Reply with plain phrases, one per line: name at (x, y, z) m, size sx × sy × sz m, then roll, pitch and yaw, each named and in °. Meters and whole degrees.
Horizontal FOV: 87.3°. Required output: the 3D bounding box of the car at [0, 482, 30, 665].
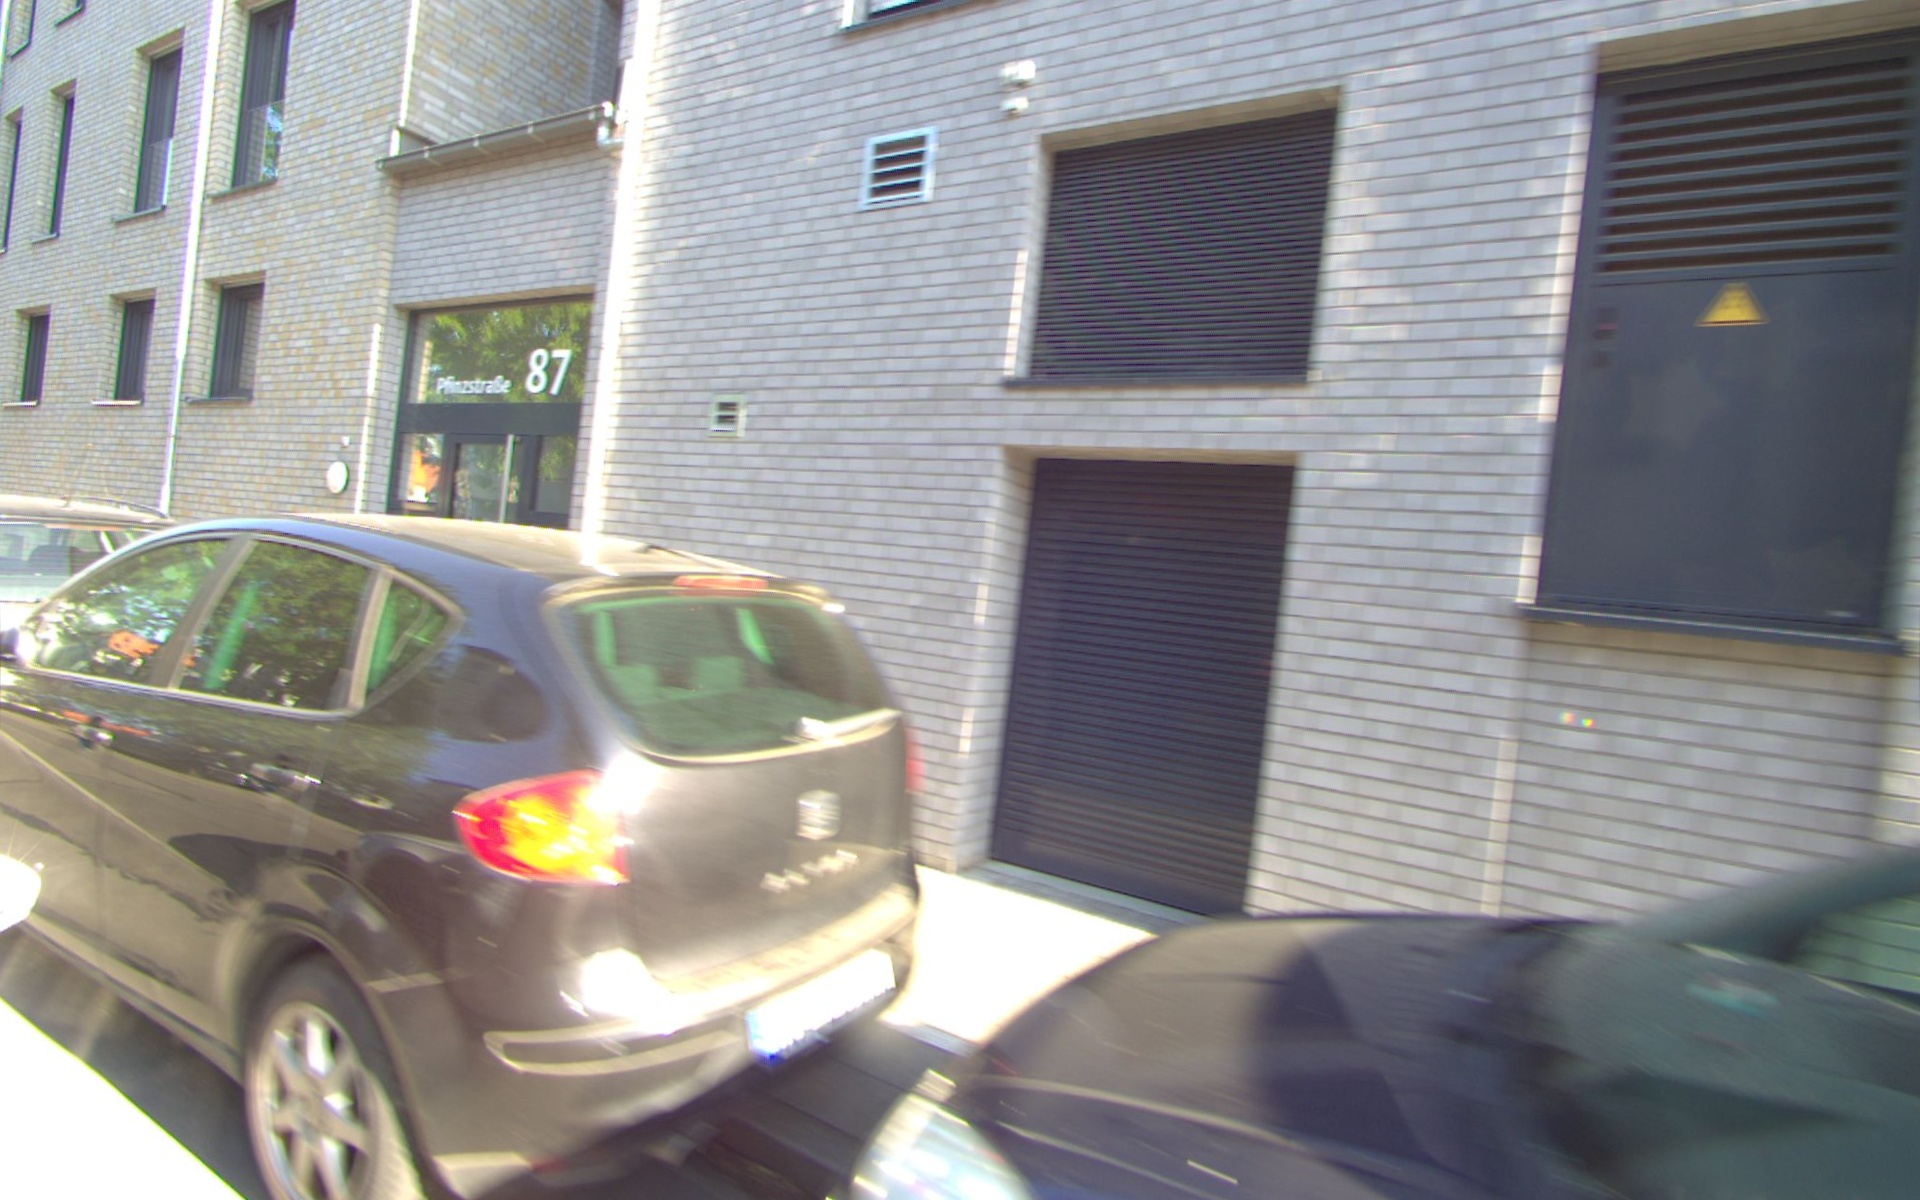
car at (-10.781, -0.510, 9.373) m, size 4.545 × 1.606 × 1.860 m, roll 6°, pitch -1°, yaw 32°

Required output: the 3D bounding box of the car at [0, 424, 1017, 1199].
car at (-1.979, 0.461, 3.418) m, size 3.848 × 1.723 × 1.667 m, roll 7°, pitch -1°, yaw 31°

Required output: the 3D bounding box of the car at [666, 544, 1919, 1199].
car at (1.707, 0.924, 1.171) m, size 4.000 × 1.608 × 1.630 m, roll 6°, pitch 2°, yaw 30°
